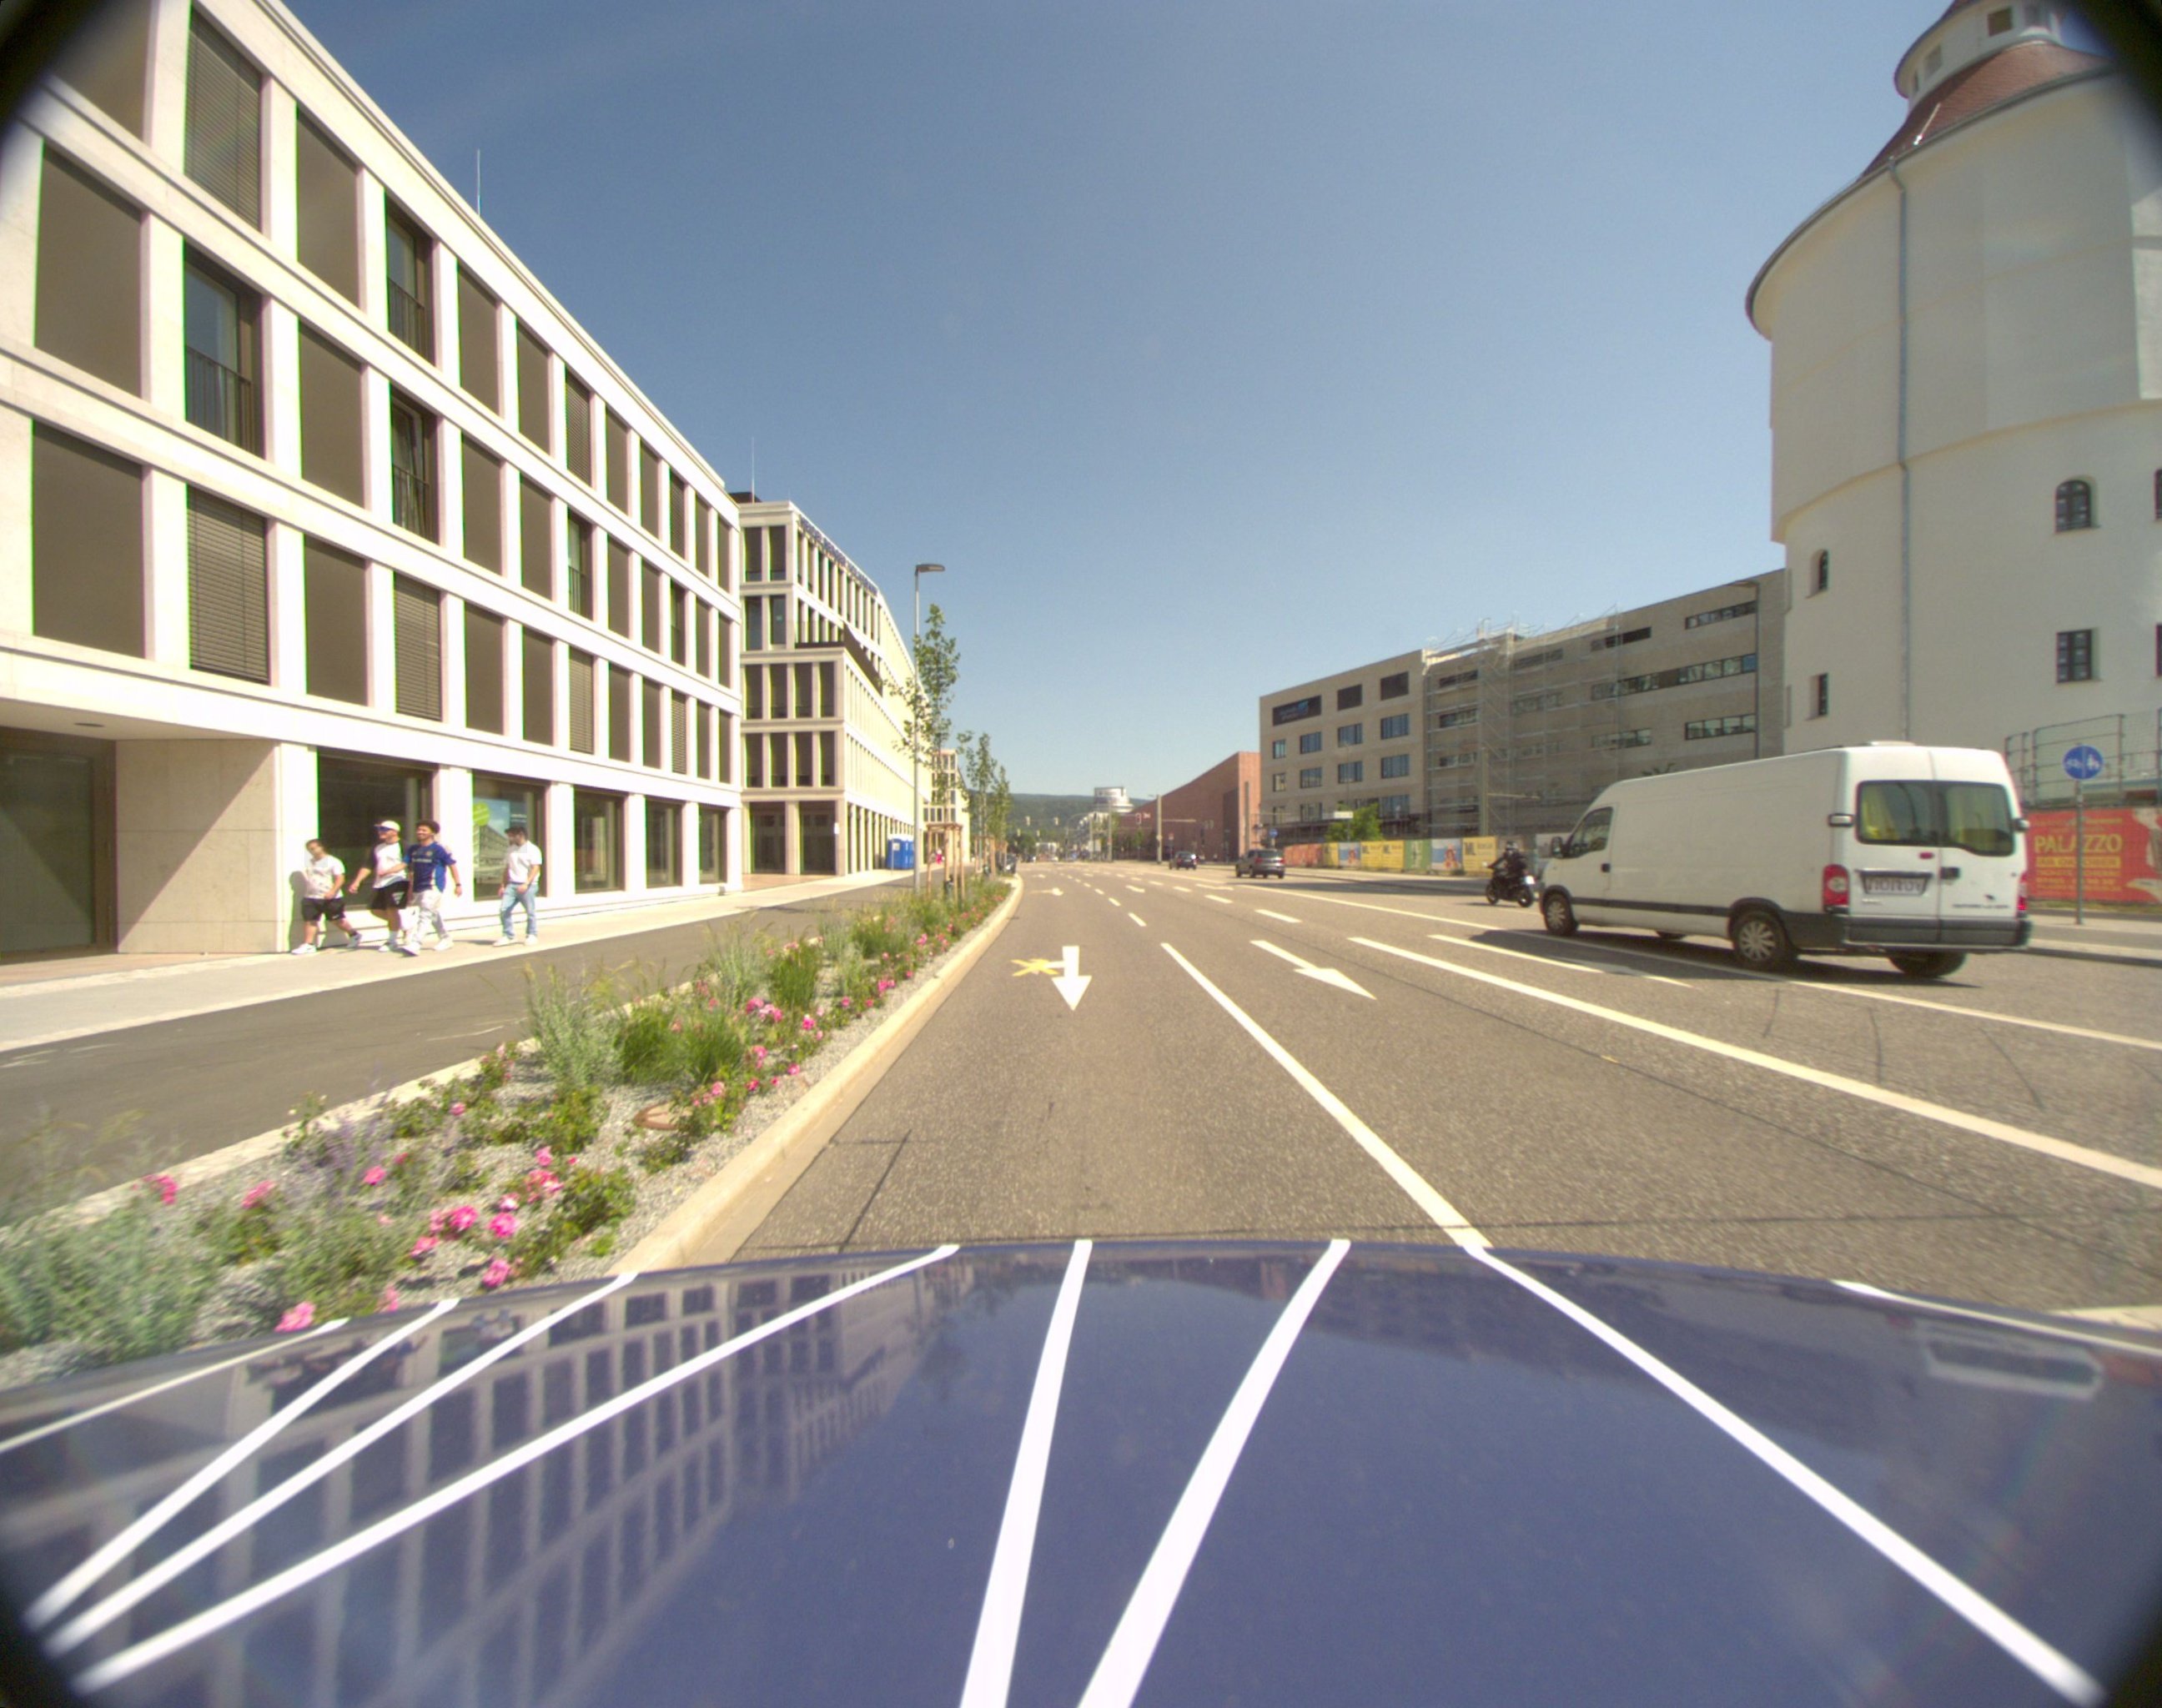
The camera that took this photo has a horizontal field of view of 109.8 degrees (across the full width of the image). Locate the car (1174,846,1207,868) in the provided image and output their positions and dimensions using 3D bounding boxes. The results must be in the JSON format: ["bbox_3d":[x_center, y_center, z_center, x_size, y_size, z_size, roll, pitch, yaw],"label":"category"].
[{"bbox_3d":[8.635,0.209,60.219,1.934,1.603,3.999,-1,1,-1],"label":"car"}]

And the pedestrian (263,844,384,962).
[{"bbox_3d":[-10.380,0.646,10.453,0.770,1.557,0.842,0,2,-1],"label":"pedestrian"}]

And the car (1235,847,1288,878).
[{"bbox_3d":[9.992,0.422,42.385,1.802,1.581,3.969,1,1,-3],"label":"car"}]

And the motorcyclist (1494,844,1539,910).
[{"bbox_3d":[11.228,0.582,19.611,0.620,1.650,0.927,0,2,0],"label":"motorcyclist"}]

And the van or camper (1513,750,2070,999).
[{"bbox_3d":[8.502,0.176,10.219,2.158,2.400,5.681,0,1,0],"label":"van or camper"}]

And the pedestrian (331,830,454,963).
[{"bbox_3d":[-9.617,0.561,10.655,0.826,1.774,0.926,0,2,-1],"label":"pedestrian"}]

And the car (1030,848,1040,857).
[{"bbox_3d":[-8.006,-0.285,131.772,1.783,1.552,3.830,-1,1,-4],"label":"car"}]

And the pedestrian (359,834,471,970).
[{"bbox_3d":[-8.839,0.602,10.135,0.578,1.730,0.996,0,2,-1],"label":"pedestrian"}]

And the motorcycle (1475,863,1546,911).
[{"bbox_3d":[11.238,0.838,19.975,0.585,1.098,2.214,1,1,1],"label":"motorcycle"}]

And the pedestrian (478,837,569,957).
[{"bbox_3d":[-8.317,0.609,11.384,0.578,1.710,0.996,-1,2,-1],"label":"pedestrian"}]

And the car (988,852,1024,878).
[{"bbox_3d":[-4.525,0.632,46.374,1.810,1.499,3.999,-1,1,-1],"label":"car"}]
